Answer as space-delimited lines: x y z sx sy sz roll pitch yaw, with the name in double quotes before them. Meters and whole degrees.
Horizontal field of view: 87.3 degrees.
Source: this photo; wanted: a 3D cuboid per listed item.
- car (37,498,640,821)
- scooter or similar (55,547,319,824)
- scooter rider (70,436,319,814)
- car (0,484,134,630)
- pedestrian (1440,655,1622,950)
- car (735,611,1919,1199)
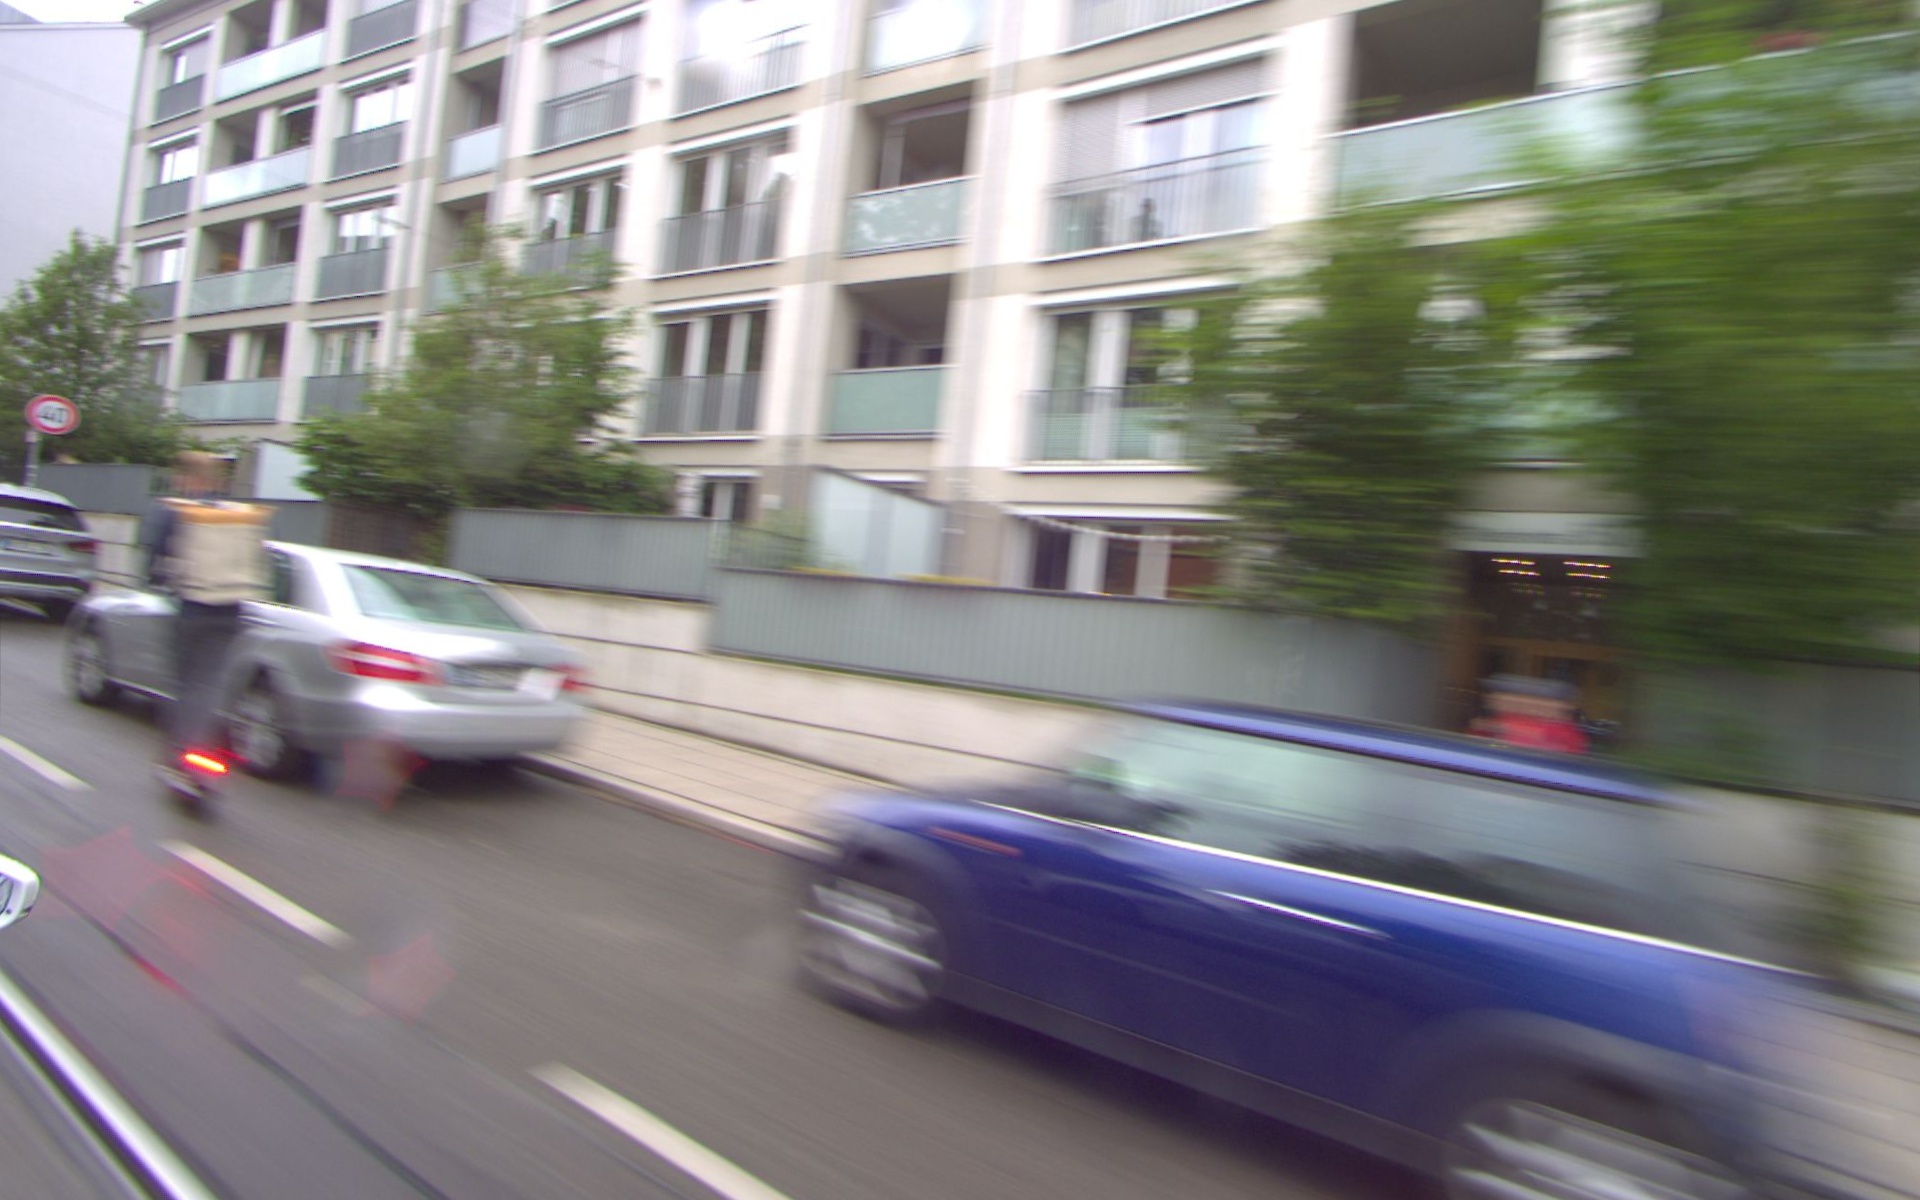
"car" -4.871 0.314 7.675 4.709 1.532 1.862 8 -2 32
"scooter or similar" -4.165 0.436 5.424 1.071 1.275 0.645 7 -2 32
"scooter rider" -4.116 0.130 5.427 0.678 1.878 0.645 7 -2 31
"car" -13.095 -0.801 12.889 4.484 1.602 1.982 8 -2 25
"pedestrian" 3.403 1.177 6.047 0.559 1.606 0.582 7 1 1
"car" 1.032 1.045 3.858 3.458 1.440 1.599 8 -2 33
